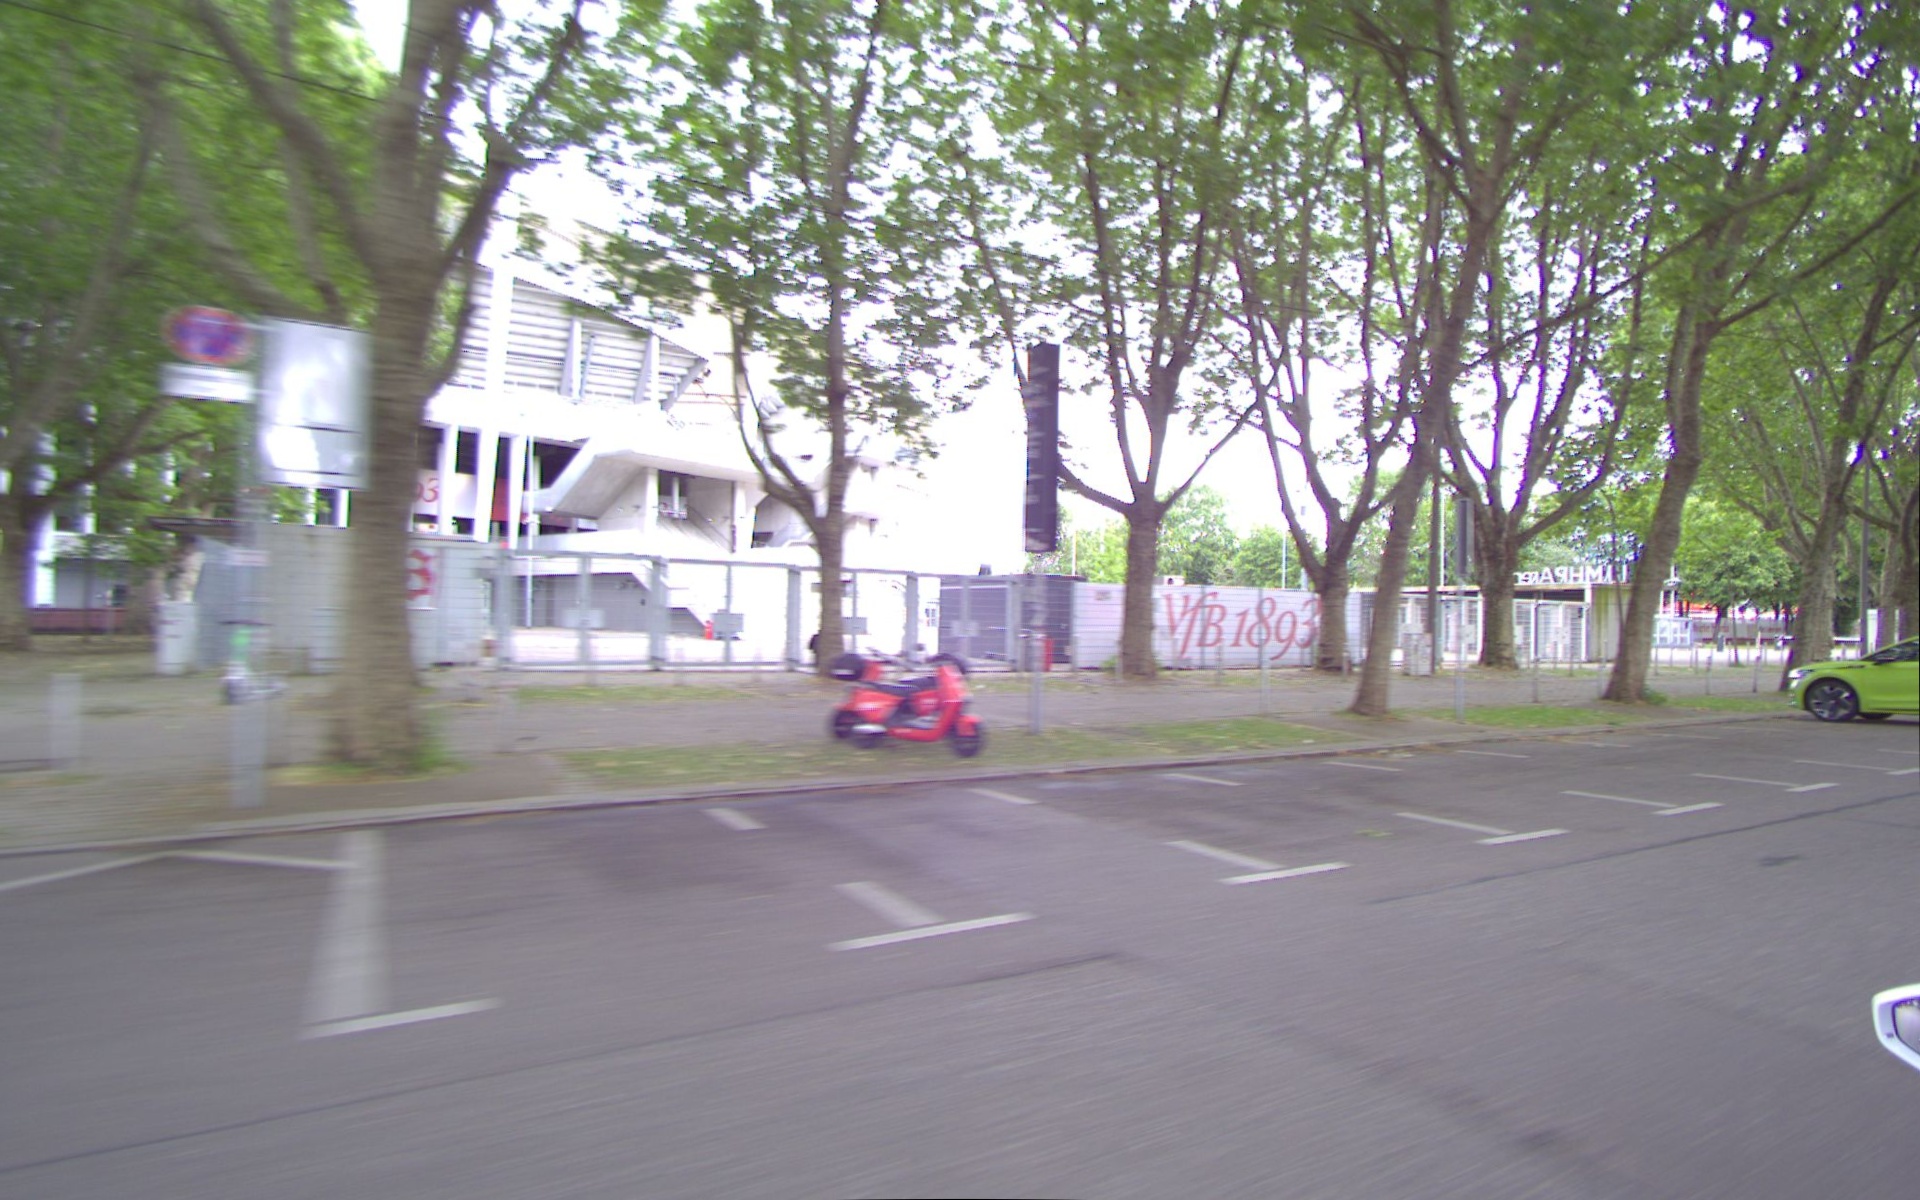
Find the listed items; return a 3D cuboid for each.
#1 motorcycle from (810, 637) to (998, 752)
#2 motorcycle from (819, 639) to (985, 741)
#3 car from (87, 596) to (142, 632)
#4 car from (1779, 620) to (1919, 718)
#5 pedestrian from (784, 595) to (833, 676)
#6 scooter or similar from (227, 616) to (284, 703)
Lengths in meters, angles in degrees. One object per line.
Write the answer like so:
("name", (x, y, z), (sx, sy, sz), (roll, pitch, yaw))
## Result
("motorcycle", (-0.640, 1.049, 11.491), (2.035, 1.173, 0.575), (2, 0, 13))
("motorcycle", (-0.702, 1.091, 12.612), (2.055, 1.173, 0.570), (2, 0, -34))
("car", (-41.543, 0.666, 49.396), (1.984, 1.684, 3.953), (2, -1, -40))
("car", (17.005, 1.183, 17.053), (1.735, 1.639, 4.499), (2, -1, -27))
("pedestrian", (-3.395, 0.783, 22.516), (0.864, 1.777, 0.700), (2, 0, -31))
("scooter or similar", (-10.239, 0.843, 14.618), (0.439, 1.188, 1.179), (2, 0, -24))
